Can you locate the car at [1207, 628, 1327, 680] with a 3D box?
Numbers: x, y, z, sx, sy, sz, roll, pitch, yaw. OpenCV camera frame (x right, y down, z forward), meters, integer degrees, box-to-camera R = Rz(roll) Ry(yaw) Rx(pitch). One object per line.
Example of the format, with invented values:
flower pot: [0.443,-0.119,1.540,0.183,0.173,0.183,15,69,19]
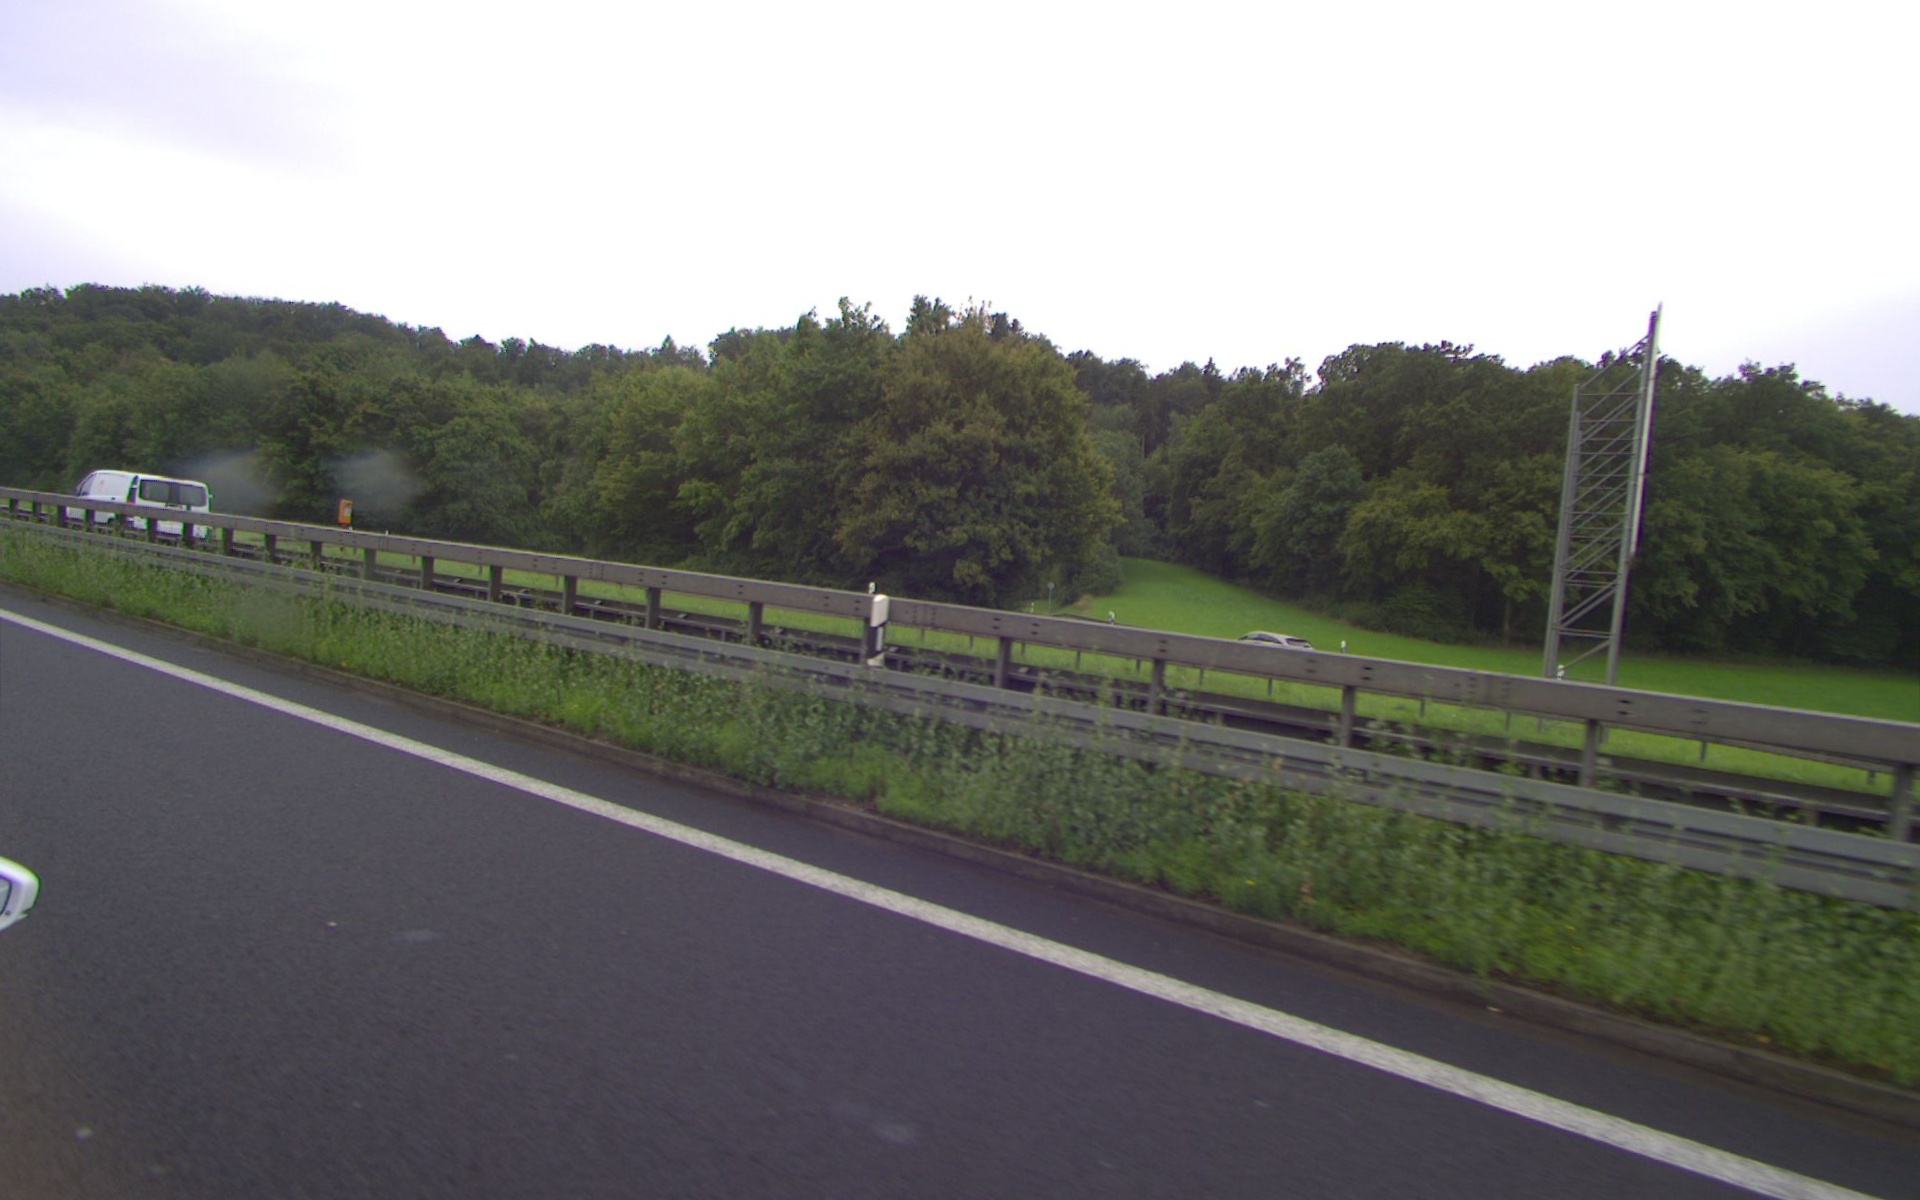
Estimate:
car: [11.709,2.039,38.701,1.878,1.472,4.690,7,-1,-20]

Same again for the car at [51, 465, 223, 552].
car: [-20.755,-2.317,25.325,4.642,1.714,1.911,6,0,33]
